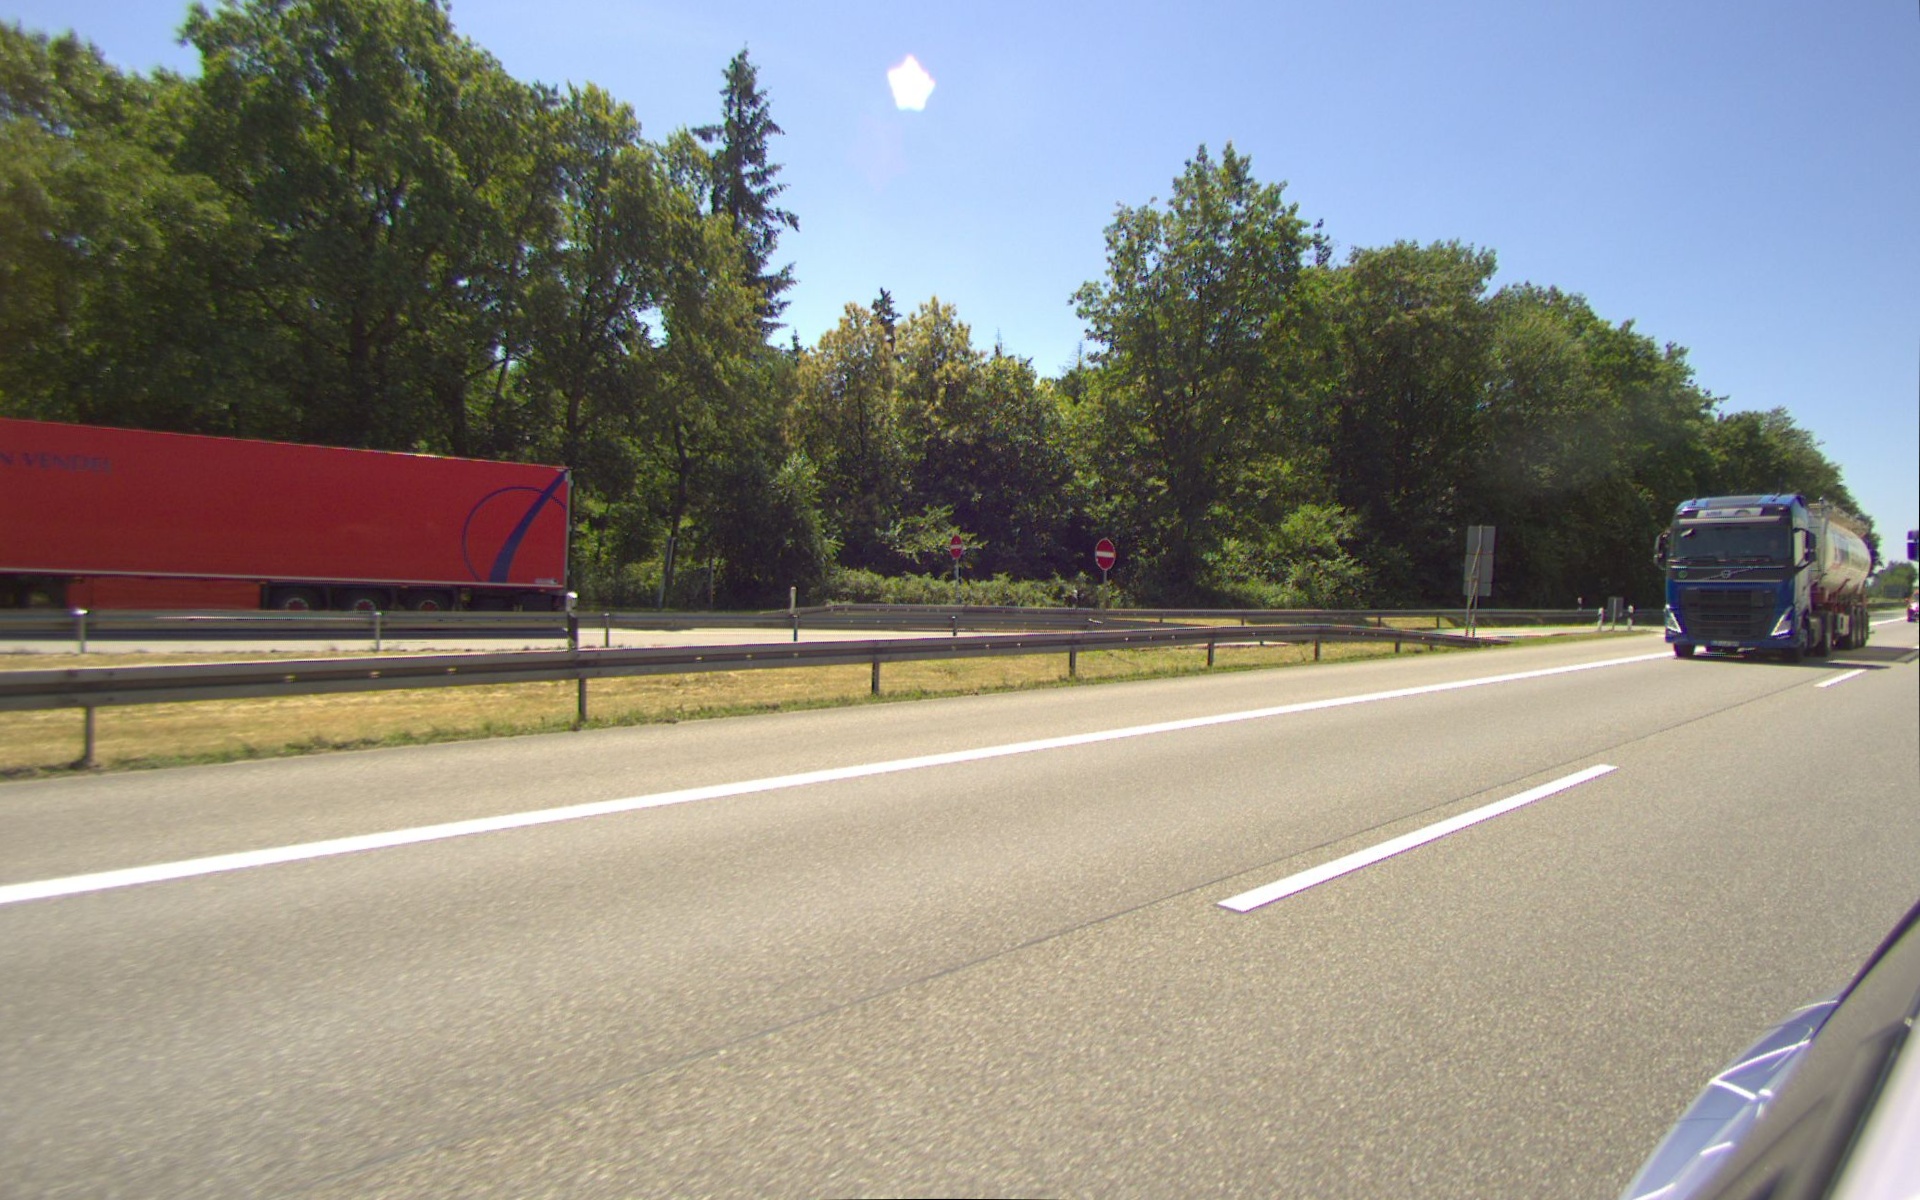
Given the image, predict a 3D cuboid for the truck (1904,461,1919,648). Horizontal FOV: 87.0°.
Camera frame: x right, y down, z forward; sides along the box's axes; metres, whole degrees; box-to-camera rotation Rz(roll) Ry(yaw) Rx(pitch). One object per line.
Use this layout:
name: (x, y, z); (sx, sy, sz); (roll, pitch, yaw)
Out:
truck: (24.187, -0.983, 23.297); (4.483, 4.209, 3.233); (0, 1, -44)

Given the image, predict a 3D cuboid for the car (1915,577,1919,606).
car: (59.263, -0.516, 61.282); (3.930, 1.700, 1.713); (0, 1, -41)

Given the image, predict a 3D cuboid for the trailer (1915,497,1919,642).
trailer: (29.688, -0.975, 28.608); (12.145, 4.195, 3.227); (0, 2, -44)

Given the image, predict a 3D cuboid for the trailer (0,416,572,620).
trailer: (-15.662, -1.618, 22.775); (12.629, 3.926, 2.993); (0, 2, -30)

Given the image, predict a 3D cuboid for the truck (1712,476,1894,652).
truck: (23.589, -0.904, 28.051); (10.361, 4.094, 2.446); (0, 1, -42)

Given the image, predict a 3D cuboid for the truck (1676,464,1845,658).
truck: (18.710, -0.865, 23.604); (4.002, 4.088, 2.453); (0, 1, -42)

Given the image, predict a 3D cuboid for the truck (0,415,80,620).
truck: (-21.394, -1.638, 19.448); (6.288, 3.929, 2.993); (0, 2, -30)
